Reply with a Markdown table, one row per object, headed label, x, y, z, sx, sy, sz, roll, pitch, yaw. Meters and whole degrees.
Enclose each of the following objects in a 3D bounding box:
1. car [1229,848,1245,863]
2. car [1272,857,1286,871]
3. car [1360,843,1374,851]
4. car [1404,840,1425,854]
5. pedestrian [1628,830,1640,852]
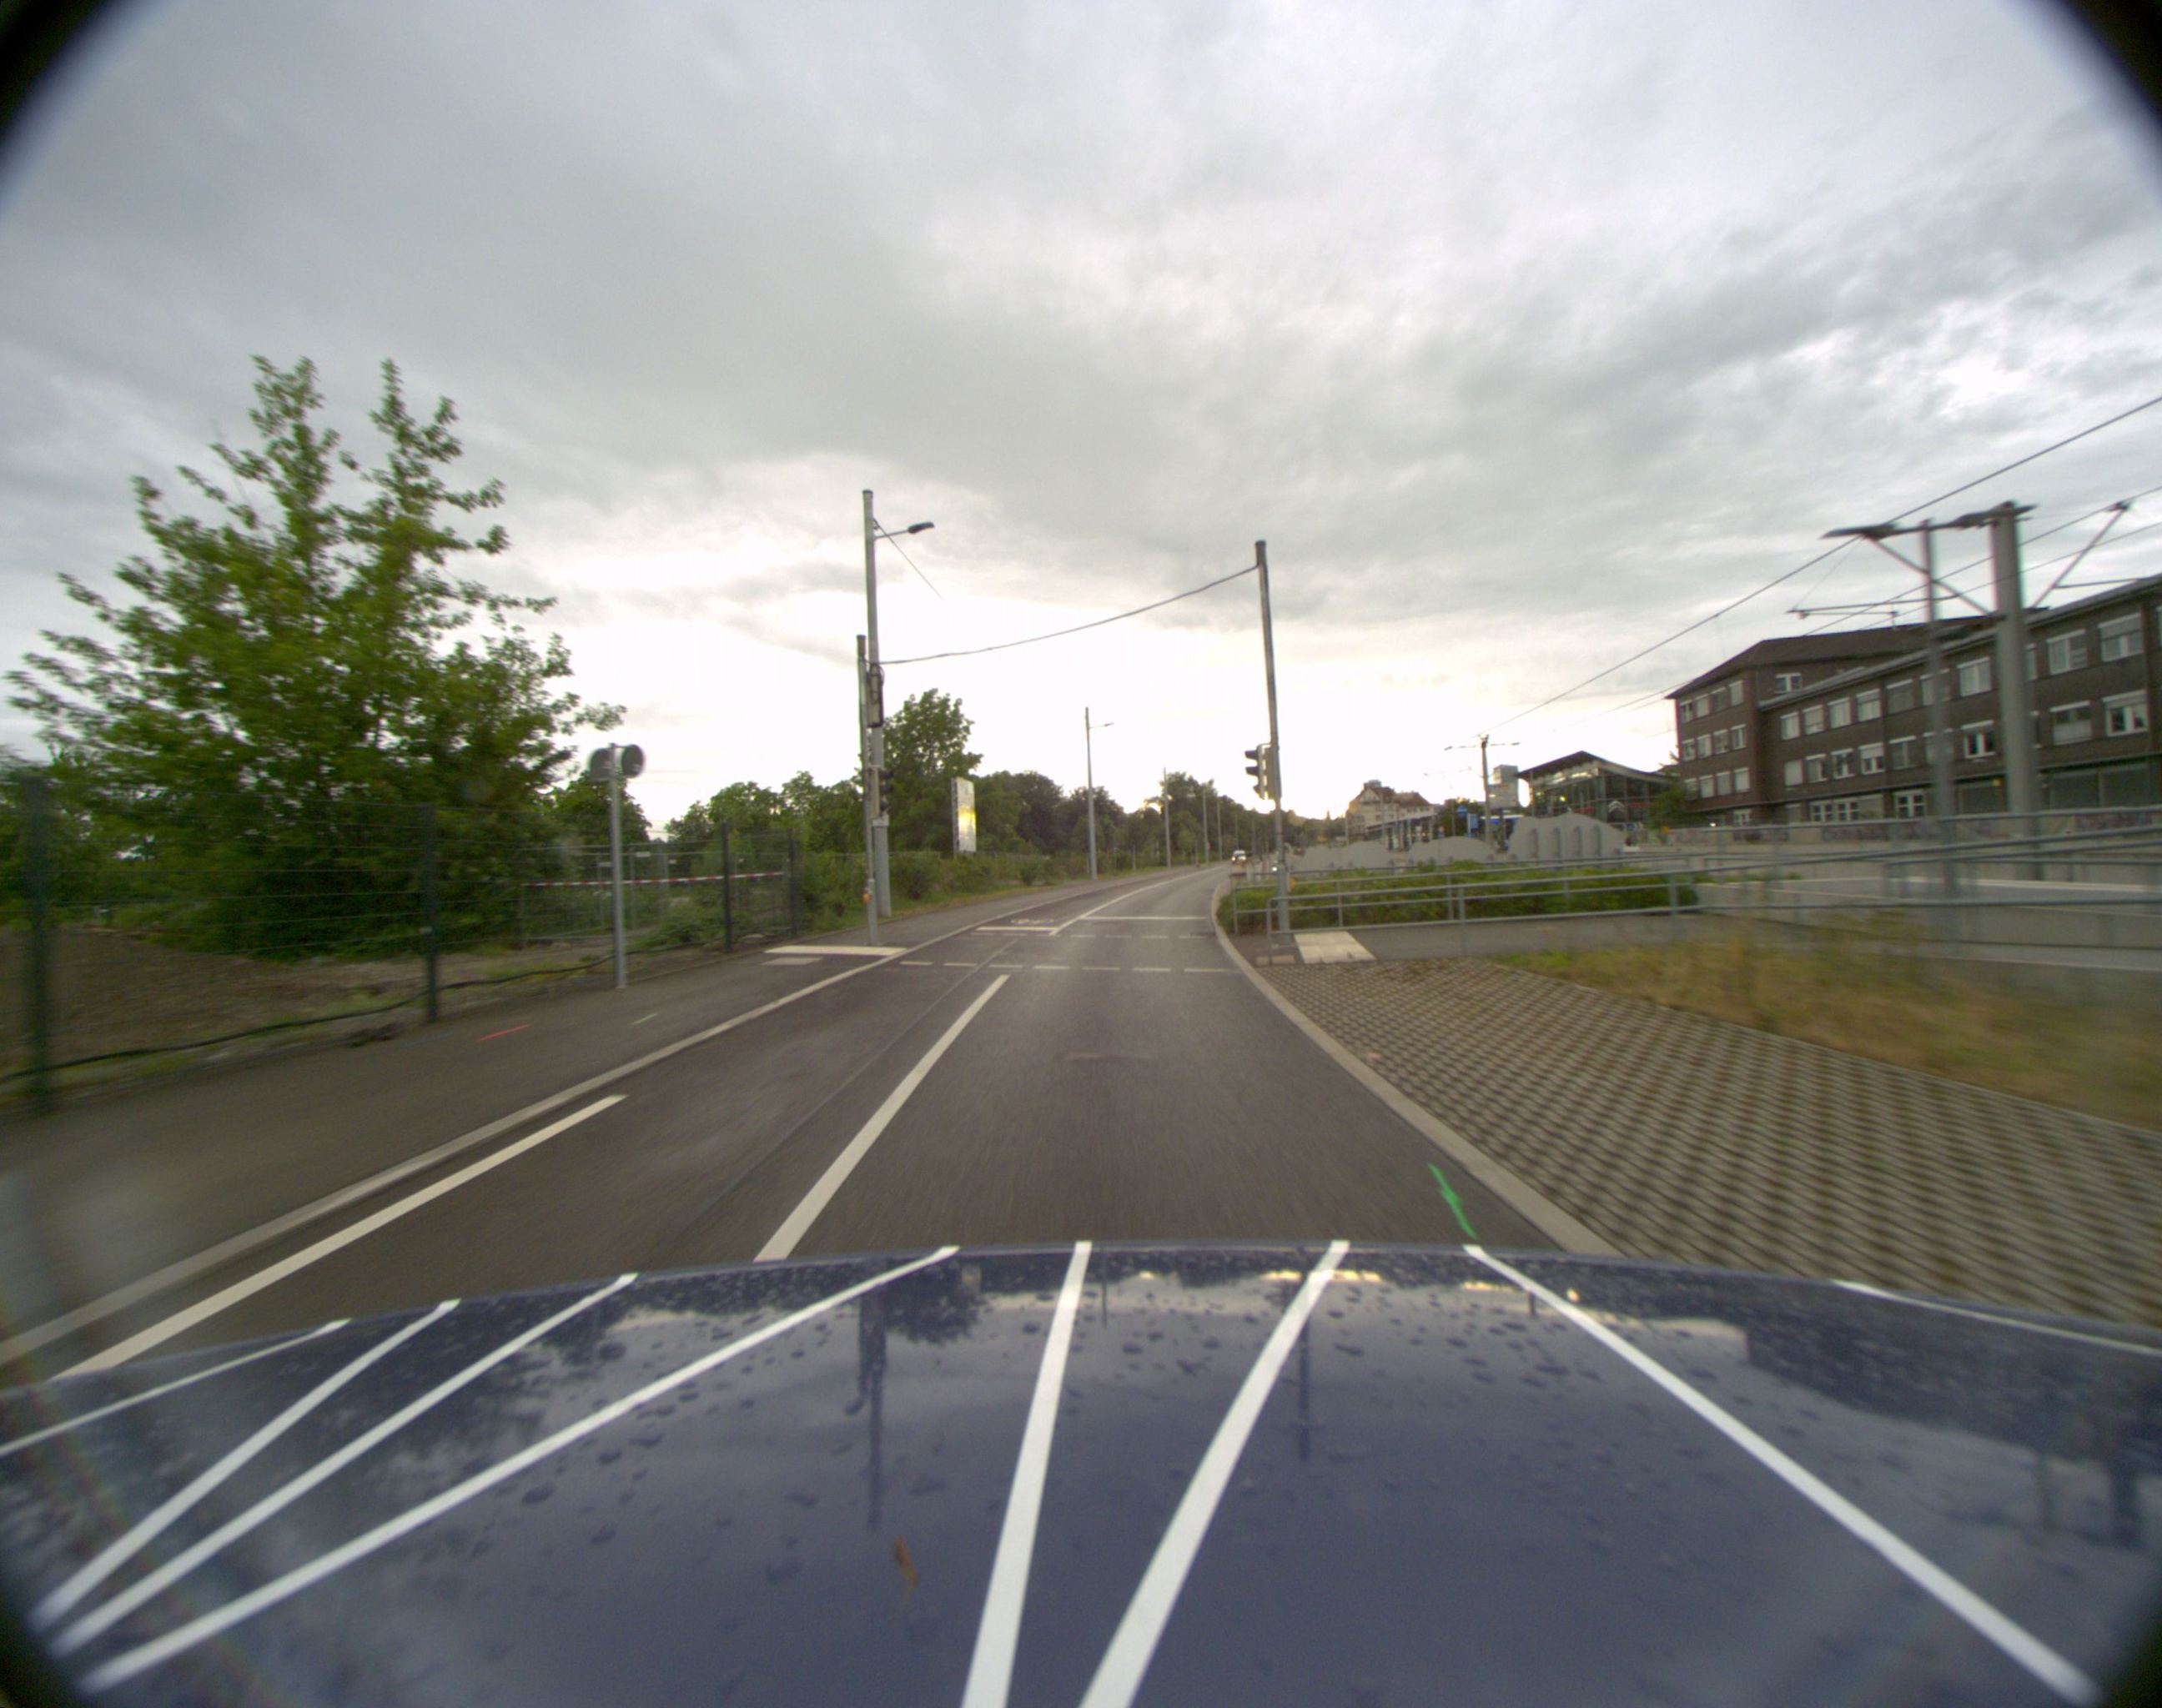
| label | x | y | z | sx | sy | sz | roll | pitch | yaw |
| --- | --- | --- | --- | --- | --- | --- | --- | --- | --- |
| car | 21.726 | 0.169 | 105.399 | 1.996 | 2.002 | 4.004 | -1 | 0 | 14 |
| car | 30.212 | 1.526 | 115.692 | 1.996 | 2.002 | 4.004 | -1 | 1 | 15 |
| car | 63.791 | -1.462 | 169.351 | 2.117 | 1.706 | 4.584 | -2 | 0 | 11 |
| car | 50.867 | -1.053 | 115.948 | 1.997 | 2.002 | 4.003 | -1 | 0 | 10 |
| pedestrian | 52.154 | -1.227 | 71.663 | 0.581 | 2.002 | 0.728 | -2 | 1 | -23 |
